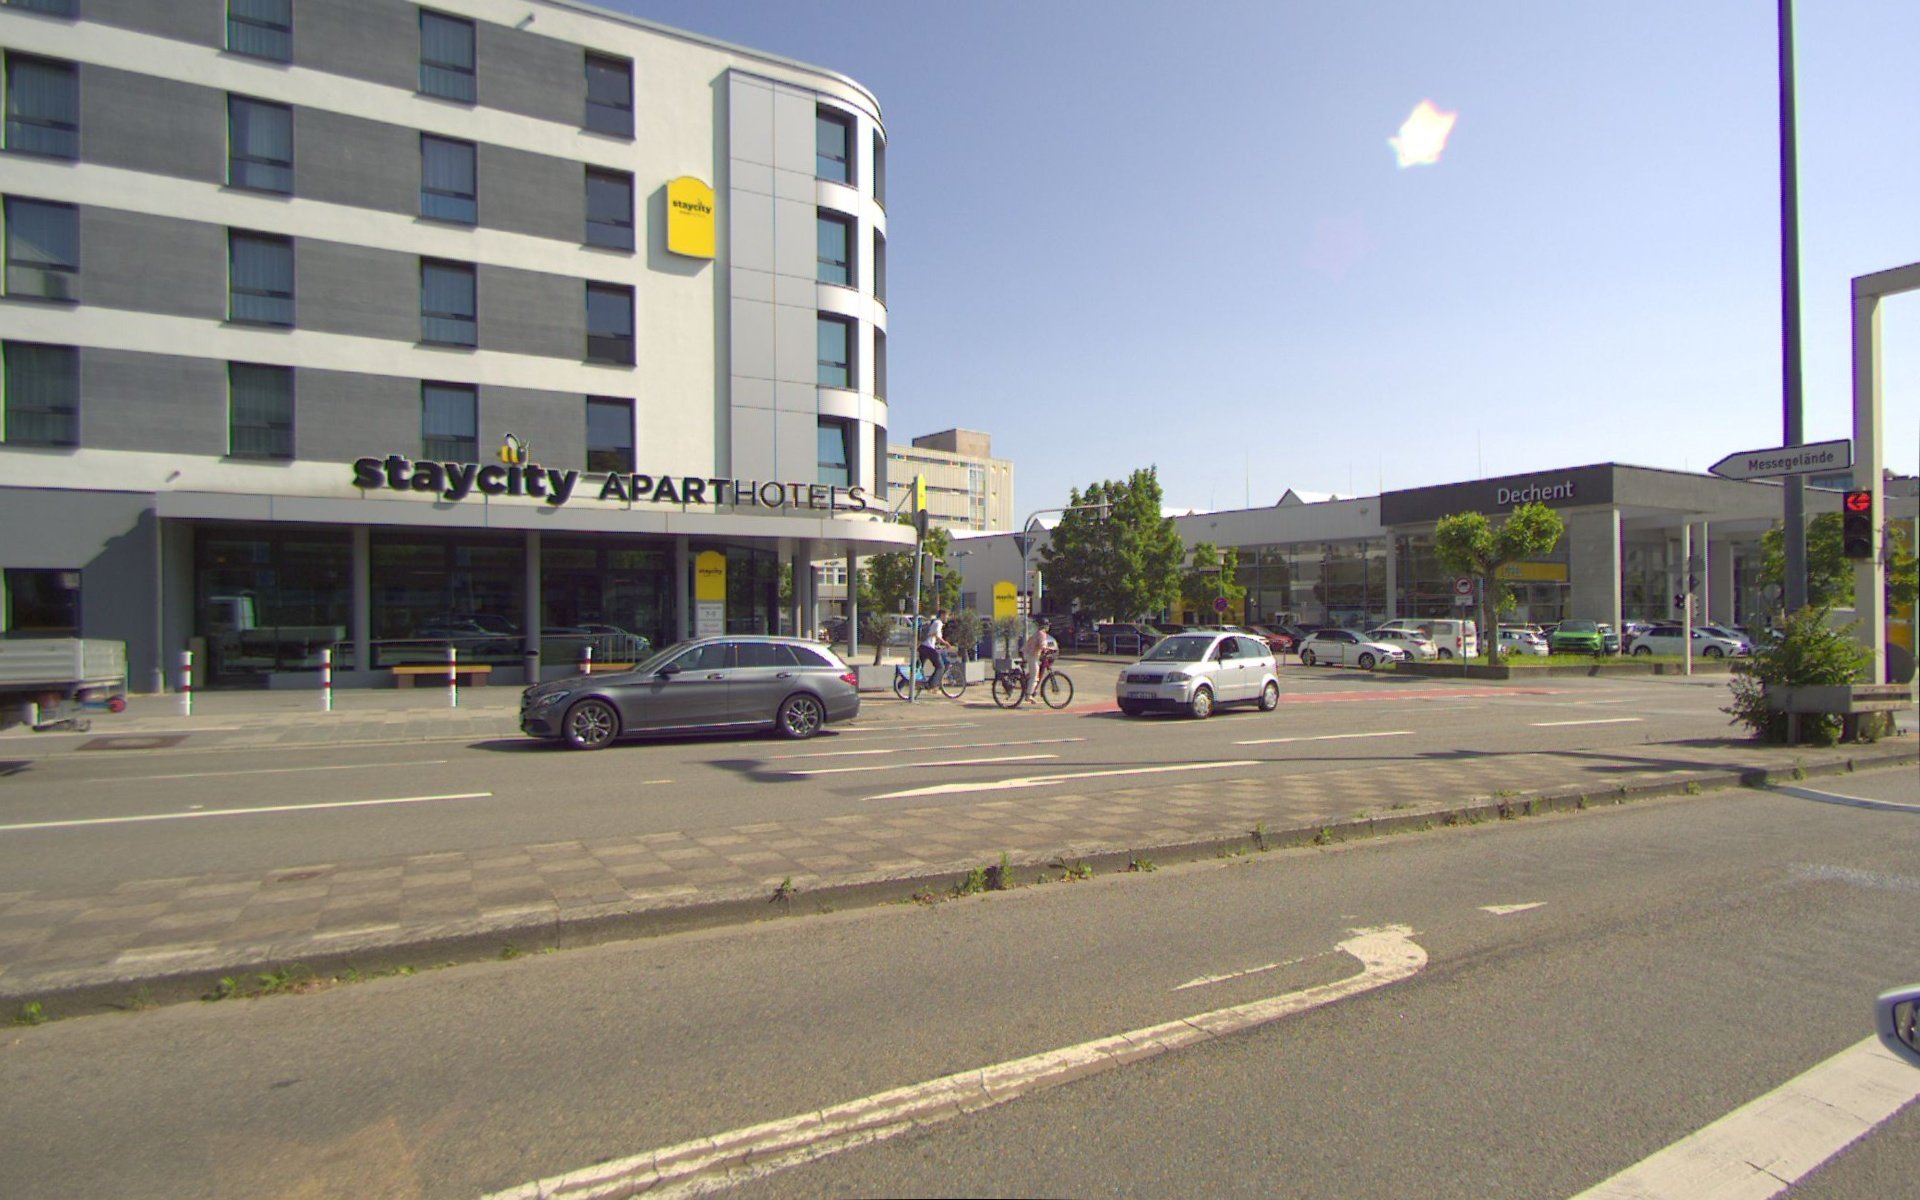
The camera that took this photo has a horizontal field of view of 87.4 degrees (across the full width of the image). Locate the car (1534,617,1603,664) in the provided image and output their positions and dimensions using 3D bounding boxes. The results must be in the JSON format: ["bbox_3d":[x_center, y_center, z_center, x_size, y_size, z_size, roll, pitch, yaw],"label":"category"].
[{"bbox_3d":[24.000,1.614,39.721,1.870,1.756,3.293,0,-3,23],"label":"car"}]

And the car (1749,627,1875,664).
[{"bbox_3d":[41.629,2.192,49.166,1.978,1.719,4.333,1,-2,-32],"label":"car"}]

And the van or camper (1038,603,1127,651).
[{"bbox_3d":[6.410,1.419,53.003,1.983,2.432,4.678,1,-2,-38],"label":"van or camper"}]

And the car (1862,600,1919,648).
[{"bbox_3d":[53.244,1.361,55.759,1.973,2.635,4.345,1,-1,-24],"label":"car"}]

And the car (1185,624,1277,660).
[{"bbox_3d":[13.803,2.122,51.442,1.980,1.719,4.328,1,-2,-35],"label":"car"}]

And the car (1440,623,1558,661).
[{"bbox_3d":[24.558,1.876,45.883,1.982,1.612,4.325,1,-2,-37],"label":"car"}]

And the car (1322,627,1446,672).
[{"bbox_3d":[17.367,1.989,41.332,1.980,1.719,4.328,1,-2,-35],"label":"car"}]

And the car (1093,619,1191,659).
[{"bbox_3d":[8.301,1.753,46.097,1.980,1.719,4.328,1,-2,-35],"label":"car"}]

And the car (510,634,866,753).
[{"bbox_3d":[-3.791,1.220,14.177,4.530,1.446,1.947,1,-3,-29],"label":"car"}]

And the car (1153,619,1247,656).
[{"bbox_3d":[11.784,1.812,49.512,1.980,1.719,4.328,1,-2,-35],"label":"car"}]

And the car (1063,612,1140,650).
[{"bbox_3d":[7.762,1.696,55.307,1.983,2.040,3.956,1,-2,-38],"label":"car"}]

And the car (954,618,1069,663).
[{"bbox_3d":[2.045,1.608,41.200,1.984,1.737,4.773,1,-2,-40],"label":"car"}]

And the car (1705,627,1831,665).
[{"bbox_3d":[38.483,2.144,47.939,1.978,1.719,4.333,1,-2,-32],"label":"car"}]

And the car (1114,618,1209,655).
[{"bbox_3d":[9.693,1.740,48.605,1.980,1.719,4.328,1,-2,-35],"label":"car"}]

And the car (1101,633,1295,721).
[{"bbox_3d":[4.537,1.352,18.878,3.889,1.457,1.755,2,-2,-44],"label":"car"}]

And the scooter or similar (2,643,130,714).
[{"bbox_3d":[-14.687,1.283,16.545,1.499,1.127,0.349,2,-1,-28],"label":"scooter or similar"}]

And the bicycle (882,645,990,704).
[{"bbox_3d":[-0.484,1.505,20.670,2.136,1.131,0.764,1,-1,-30],"label":"bicycle"}]

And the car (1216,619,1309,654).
[{"bbox_3d":[15.819,1.884,52.697,1.982,1.719,4.324,1,-2,-37],"label":"car"}]

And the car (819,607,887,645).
[{"bbox_3d":[-6.791,1.617,63.423,1.985,2.158,4.565,2,0,-42],"label":"car"}]

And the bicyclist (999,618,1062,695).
[{"bbox_3d":[1.409,1.116,20.101,1.012,1.479,0.766,1,-1,-23],"label":"bicyclist"}]

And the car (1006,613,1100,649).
[{"bbox_3d":[4.627,1.540,50.204,4.304,1.719,1.991,-1,-2,39],"label":"car"}]

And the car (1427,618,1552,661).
[{"bbox_3d":[22.534,1.652,42.896,1.982,1.719,4.323,1,-2,-38],"label":"car"}]

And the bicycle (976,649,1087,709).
[{"bbox_3d":[1.437,1.565,20.111,2.131,1.131,0.766,1,-1,-24],"label":"bicycle"}]

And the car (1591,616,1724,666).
[{"bbox_3d":[27.358,1.580,39.497,1.978,1.862,3.849,1,-2,-32],"label":"car"}]

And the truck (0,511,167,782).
[{"bbox_3d":[-11.717,0.439,9.418,6.361,2.578,2.347,1,-3,-30],"label":"truck"}]

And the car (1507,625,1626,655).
[{"bbox_3d":[27.873,1.841,46.270,1.982,1.284,4.325,4,-4,-37],"label":"car"}]

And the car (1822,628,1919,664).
[{"bbox_3d":[47.024,2.300,51.130,1.973,1.719,4.345,1,-1,-24],"label":"car"}]

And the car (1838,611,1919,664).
[{"bbox_3d":[49.094,1.945,52.396,2.096,2.720,4.490,1,-1,-21],"label":"car"}]

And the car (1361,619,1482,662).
[{"bbox_3d":[19.845,1.706,43.338,1.982,1.719,4.323,1,-2,-38],"label":"car"}]

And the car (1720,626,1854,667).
[{"bbox_3d":[37.445,2.085,45.598,1.978,1.719,4.333,2,-1,-32],"label":"car"}]

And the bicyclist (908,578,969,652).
[{"bbox_3d":[-0.446,0.312,20.702,1.015,1.479,0.764,1,-1,-30],"label":"bicyclist"}]

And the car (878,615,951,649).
[{"bbox_3d":[-2.746,1.885,59.317,1.971,1.815,4.376,2,0,-42],"label":"car"}]

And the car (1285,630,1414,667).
[{"bbox_3d":[15.093,1.841,39.112,1.980,1.317,4.328,1,-2,-35],"label":"car"}]

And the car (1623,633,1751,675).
[{"bbox_3d":[30.500,2.211,42.235,1.981,1.620,3.959,1,-2,-36],"label":"car"}]

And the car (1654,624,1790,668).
[{"bbox_3d":[32.857,1.956,43.411,1.978,1.789,4.274,1,-2,-32],"label":"car"}]
